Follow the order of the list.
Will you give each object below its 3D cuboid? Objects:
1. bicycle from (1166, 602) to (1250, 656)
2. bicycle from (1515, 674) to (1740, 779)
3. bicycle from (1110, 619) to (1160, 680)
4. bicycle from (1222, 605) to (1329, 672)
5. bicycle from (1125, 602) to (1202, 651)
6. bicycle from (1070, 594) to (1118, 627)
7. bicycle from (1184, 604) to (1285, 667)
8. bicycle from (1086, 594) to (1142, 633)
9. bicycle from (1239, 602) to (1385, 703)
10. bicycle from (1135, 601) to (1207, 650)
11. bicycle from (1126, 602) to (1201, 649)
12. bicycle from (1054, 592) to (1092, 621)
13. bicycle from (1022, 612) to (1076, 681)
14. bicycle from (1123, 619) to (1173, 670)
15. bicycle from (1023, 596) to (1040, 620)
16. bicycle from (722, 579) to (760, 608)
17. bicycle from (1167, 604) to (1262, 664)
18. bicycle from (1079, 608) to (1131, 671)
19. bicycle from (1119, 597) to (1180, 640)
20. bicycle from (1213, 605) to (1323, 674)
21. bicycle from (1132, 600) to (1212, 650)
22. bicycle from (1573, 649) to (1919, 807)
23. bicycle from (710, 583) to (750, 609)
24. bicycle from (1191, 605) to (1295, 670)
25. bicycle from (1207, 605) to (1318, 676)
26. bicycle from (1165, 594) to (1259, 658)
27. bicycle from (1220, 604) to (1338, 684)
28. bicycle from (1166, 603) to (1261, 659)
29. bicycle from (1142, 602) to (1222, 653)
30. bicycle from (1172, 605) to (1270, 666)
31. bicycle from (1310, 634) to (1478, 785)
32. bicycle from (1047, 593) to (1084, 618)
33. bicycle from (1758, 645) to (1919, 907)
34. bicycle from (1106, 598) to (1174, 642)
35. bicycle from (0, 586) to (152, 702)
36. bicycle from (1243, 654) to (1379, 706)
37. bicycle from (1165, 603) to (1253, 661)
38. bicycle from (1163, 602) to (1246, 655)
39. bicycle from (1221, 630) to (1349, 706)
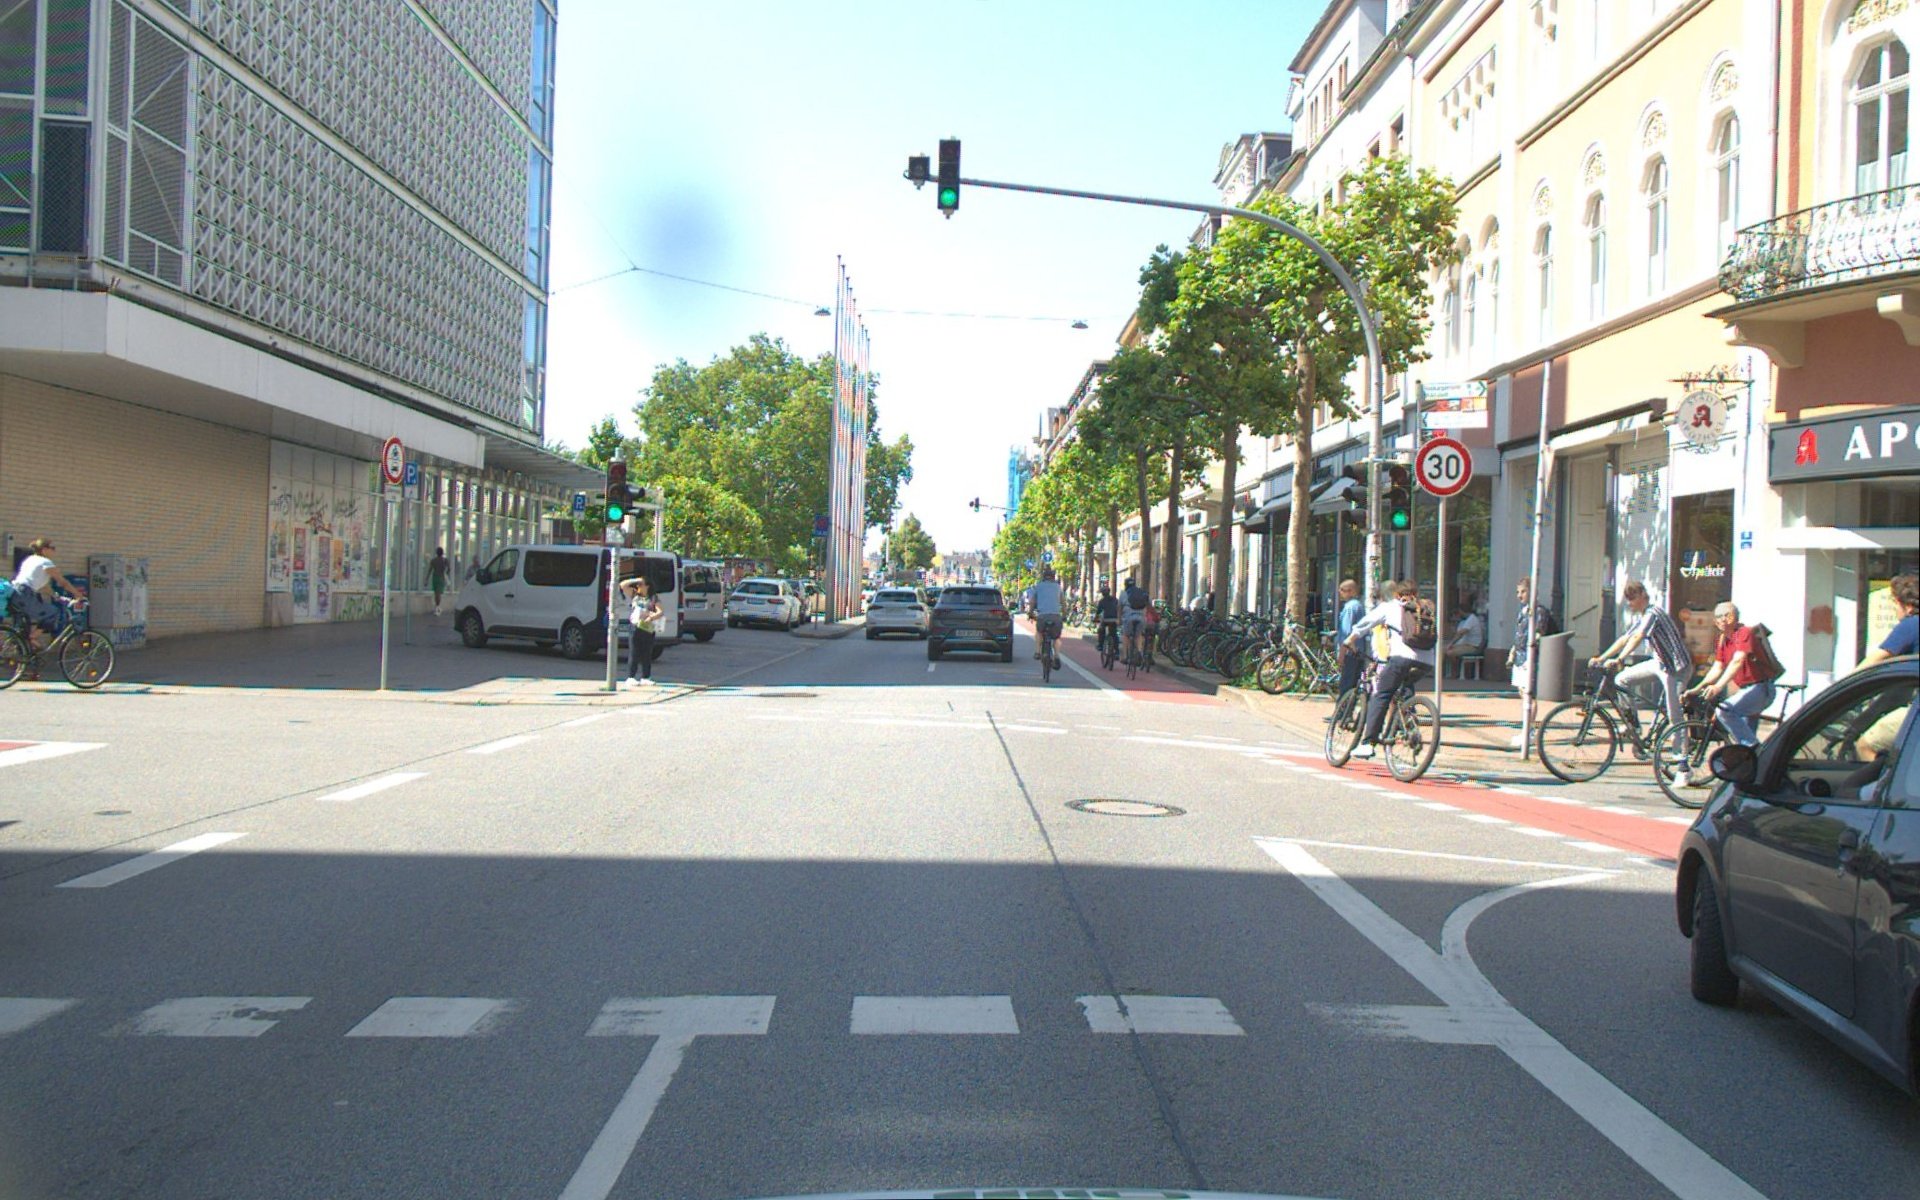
[{"bbox_3d":[5.557,0.649,37.037,1.801,1.146,0.448,1,-1,2],"label":"bicycle"},{"bbox_3d":[5.937,1.122,14.754,1.784,0.859,0.501,1,0,0],"label":"bicycle"},{"bbox_3d":[3.105,0.859,29.454,0.617,0.997,2.088,2,0,-1],"label":"bicycle"},{"bbox_3d":[5.702,0.695,29.944,1.802,1.146,0.667,1,-1,2],"label":"bicycle"},{"bbox_3d":[5.065,0.653,41.179,1.802,1.112,0.564,3,0,0],"label":"bicycle"},{"bbox_3d":[5.238,0.403,64.703,1.801,1.206,0.670,3,0,5],"label":"bicycle"},{"bbox_3d":[5.229,0.675,31.594,1.802,1.146,0.667,1,-1,2],"label":"bicycle"},{"bbox_3d":[5.200,0.454,55.873,1.801,1.218,0.674,2,0,7],"label":"bicycle"},{"bbox_3d":[4.961,0.713,23.357,1.822,1.209,0.713,6,4,38],"label":"bicycle"},{"bbox_3d":[5.091,0.619,39.824,1.825,1.146,0.586,2,-1,-36],"label":"bicycle"},{"bbox_3d":[5.266,0.669,42.894,1.807,1.112,0.563,3,0,-11],"label":"bicycle"},{"bbox_3d":[5.205,0.294,76.055,1.692,1.238,0.477,2,0,2],"label":"bicycle"},{"bbox_3d":[1.458,0.747,27.381,0.758,1.023,2.329,1,0,0],"label":"bicycle"},{"bbox_3d":[3.709,0.858,32.702,0.588,0.942,2.086,3,-1,-4],"label":"bicycle"},{"bbox_3d":[3.284,0.362,76.283,0.634,1.015,2.031,2,0,0],"label":"bicycle"},{"bbox_3d":[-10.741,-0.309,81.015,1.746,1.331,0.662,2,0,-3],"label":"bicycle"},{"bbox_3d":[5.090,0.686,33.100,1.802,1.146,0.530,1,-1,2],"label":"bicycle"},{"bbox_3d":[2.855,0.757,32.748,0.684,1.146,2.080,3,0,-3],"label":"bicycle"},{"bbox_3d":[5.675,0.567,49.515,1.754,1.218,0.572,2,0,-28],"label":"bicycle"},{"bbox_3d":[5.384,0.688,28.972,1.802,1.146,0.667,1,-1,2],"label":"bicycle"},{"bbox_3d":[5.404,0.633,42.153,1.808,1.146,0.763,4,-2,-13],"label":"bicycle"},{"bbox_3d":[6.264,1.012,13.197,2.514,1.146,0.627,1,1,-4],"label":"bicycle"},{"bbox_3d":[-10.872,-0.194,78.222,1.746,1.152,0.562,2,0,-3],"label":"bicycle"},{"bbox_3d":[5.210,0.688,30.547,1.802,1.146,0.644,1,-1,2],"label":"bicycle"},{"bbox_3d":[5.146,0.682,28.195,1.801,1.146,0.667,1,-1,7],"label":"bicycle"},{"bbox_3d":[5.186,0.534,34.094,1.802,1.146,0.680,5,1,4],"label":"bicycle"},{"bbox_3d":[5.191,0.707,26.890,1.801,1.146,0.346,4,1,15],"label":"bicycle"},{"bbox_3d":[5.446,0.667,35.522,1.943,1.146,0.762,1,-1,13],"label":"bicycle"},{"bbox_3d":[5.207,0.639,38.796,1.805,1.146,0.447,1,-1,28],"label":"bicycle"},{"bbox_3d":[5.104,0.688,32.406,1.802,1.146,0.667,1,-1,2],"label":"bicycle"},{"bbox_3d":[3.783,0.924,14.608,0.685,1.146,2.078,3,0,-6],"label":"bicycle"},{"bbox_3d":[5.306,0.271,83.002,1.805,1.222,0.609,2,0,2],"label":"bicycle"},{"bbox_3d":[5.484,0.978,9.459,0.717,1.291,2.283,3,2,1],"label":"bicycle"},{"bbox_3d":[5.206,0.576,47.848,1.806,1.146,0.496,4,1,-8],"label":"bicycle"},{"bbox_3d":[-10.729,0.495,19.348,0.721,1.289,2.203,1,1,36],"label":"bicycle"},{"bbox_3d":[5.340,1.230,25.289,1.123,0.441,1.842,-10,-4,-26],"label":"bicycle"},{"bbox_3d":[5.458,0.688,36.236,1.801,1.146,0.530,4,-1,12],"label":"bicycle"},{"bbox_3d":[5.538,0.647,37.496,1.801,1.146,0.448,1,-1,2],"label":"bicycle"},{"bbox_3d":[5.115,1.077,26.089,1.814,0.401,1.024,10,-35,4],"label":"bicycle"}]
